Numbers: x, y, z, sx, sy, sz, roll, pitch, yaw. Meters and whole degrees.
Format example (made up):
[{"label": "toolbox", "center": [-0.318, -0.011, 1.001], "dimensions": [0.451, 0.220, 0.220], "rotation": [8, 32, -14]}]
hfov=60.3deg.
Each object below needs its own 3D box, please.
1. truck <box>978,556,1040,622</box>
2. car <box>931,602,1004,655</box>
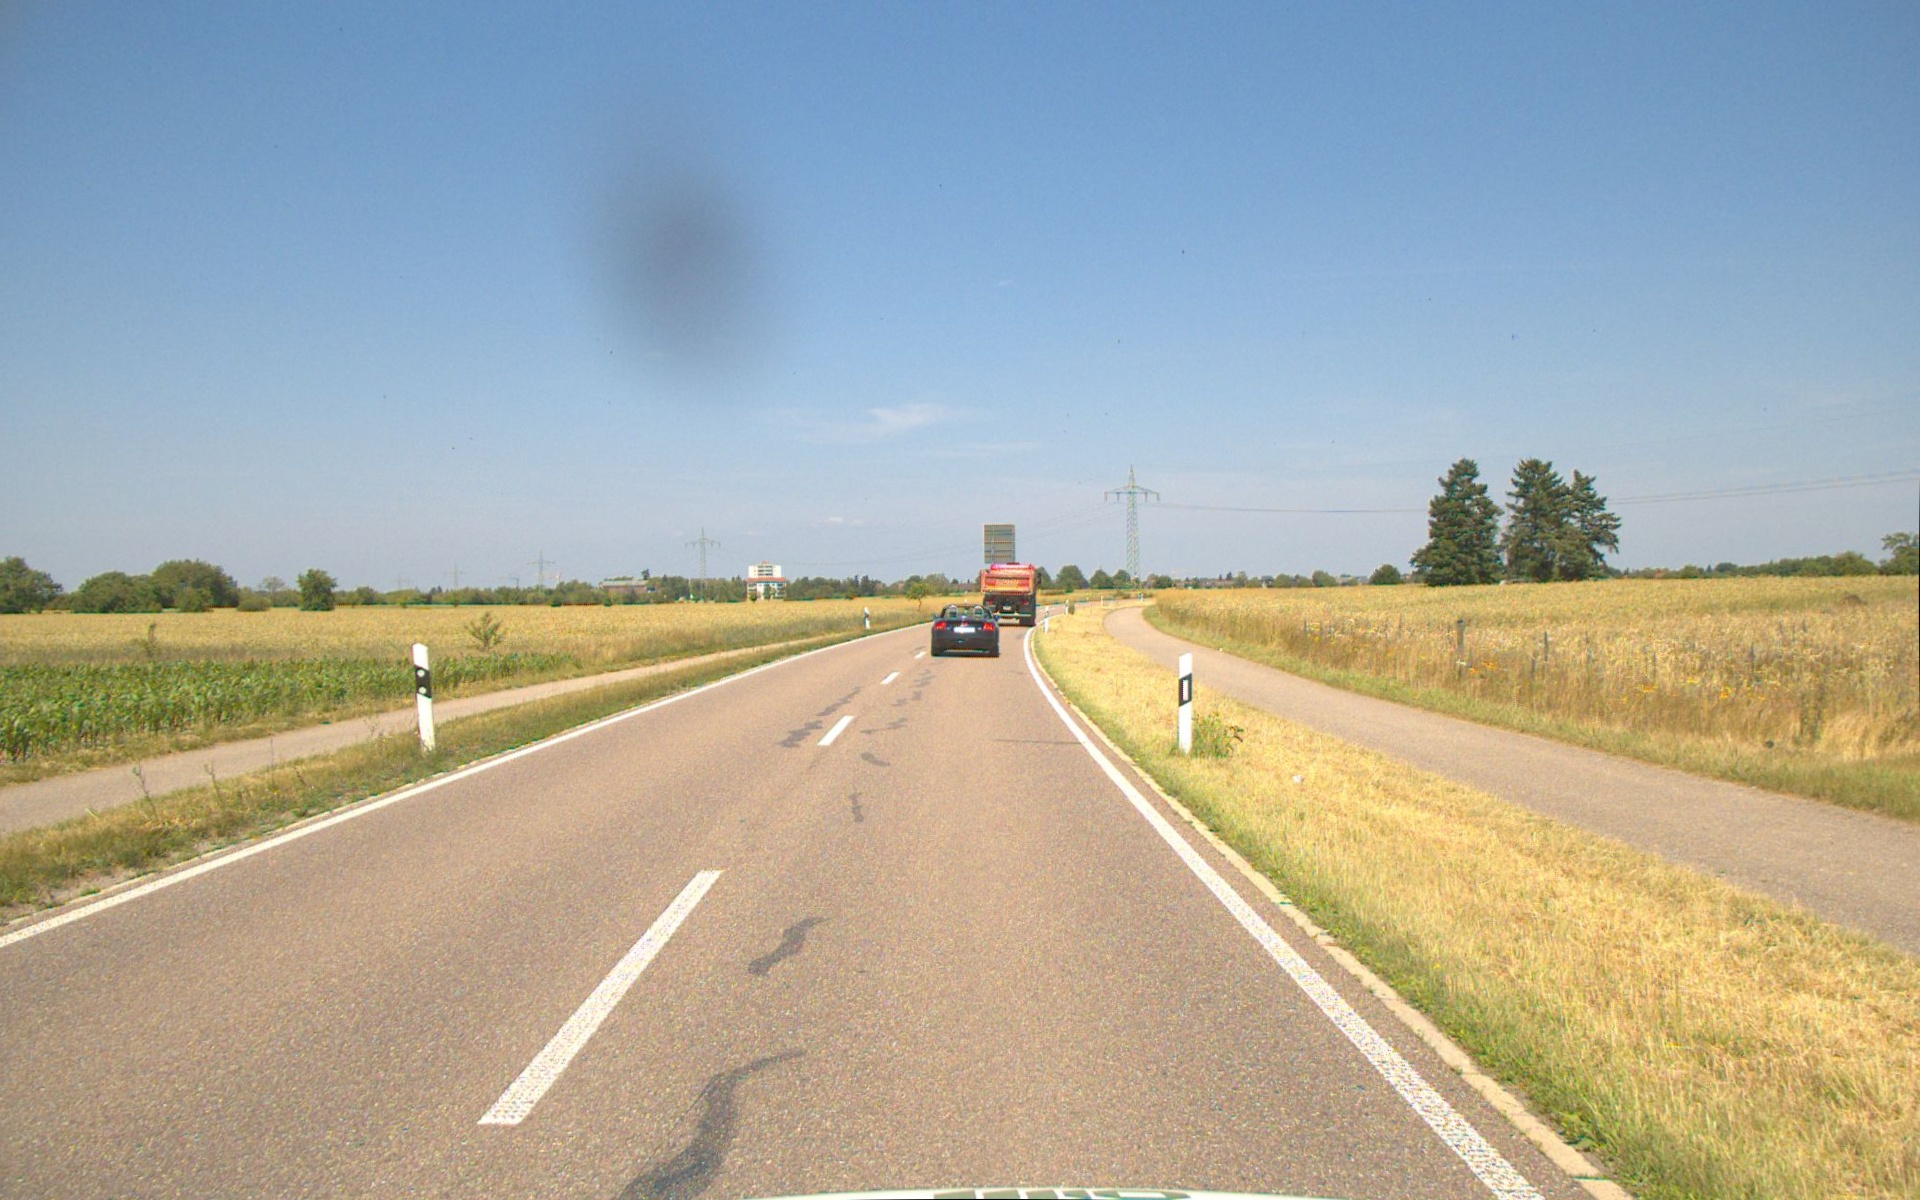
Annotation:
[{"label": "truck", "center": [2.498, -0.478, 82.339], "dimensions": [2.876, 3.143, 7.199], "rotation": [0, -1, 3]}, {"label": "car", "center": [0.247, 0.727, 43.275], "dimensions": [1.707, 1.302, 4.001], "rotation": [1, -1, 3]}]
